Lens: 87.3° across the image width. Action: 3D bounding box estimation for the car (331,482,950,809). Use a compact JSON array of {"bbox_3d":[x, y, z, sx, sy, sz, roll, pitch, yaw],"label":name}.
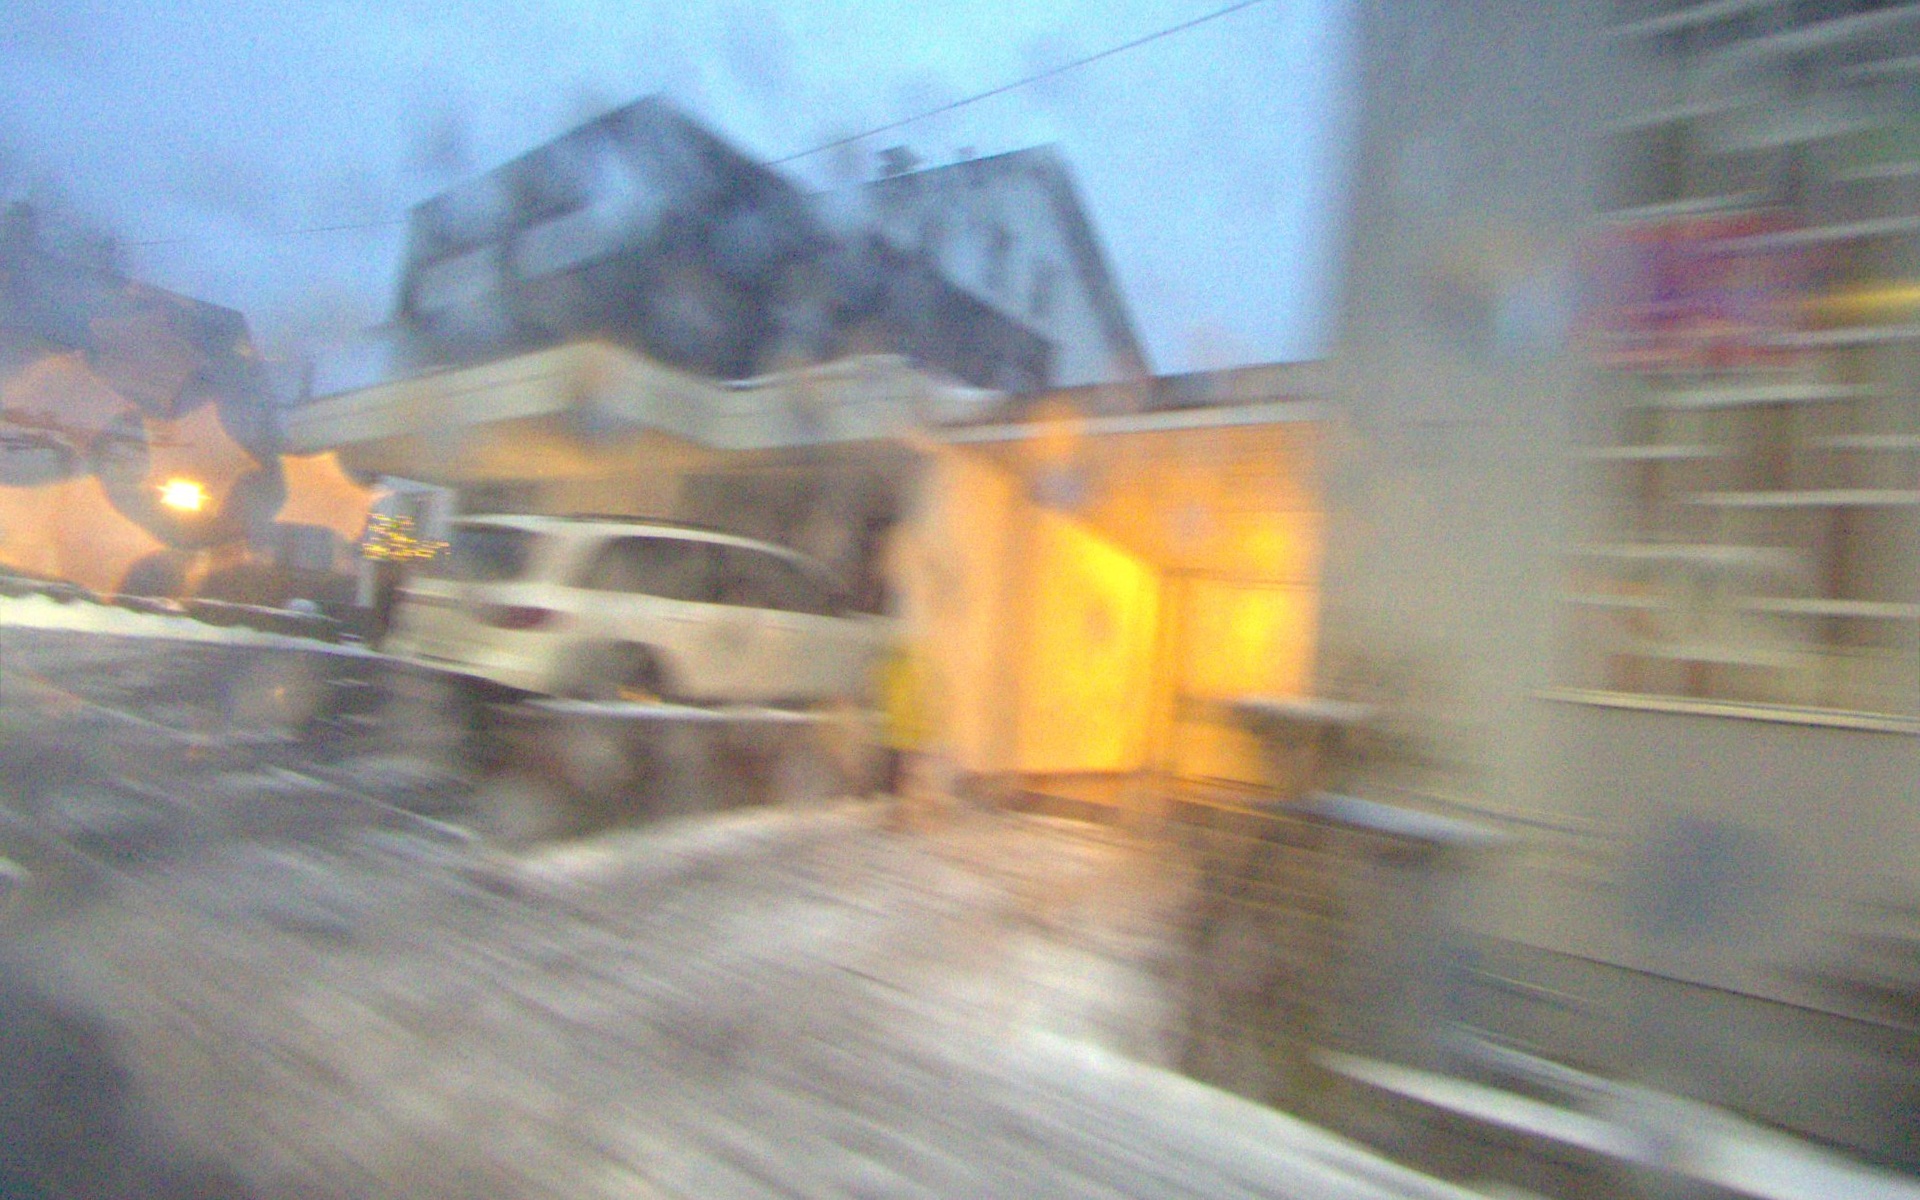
[{"bbox_3d":[-2.214,0.413,7.991,1.883,1.880,4.206,6,-2,38],"label":"car"}]
